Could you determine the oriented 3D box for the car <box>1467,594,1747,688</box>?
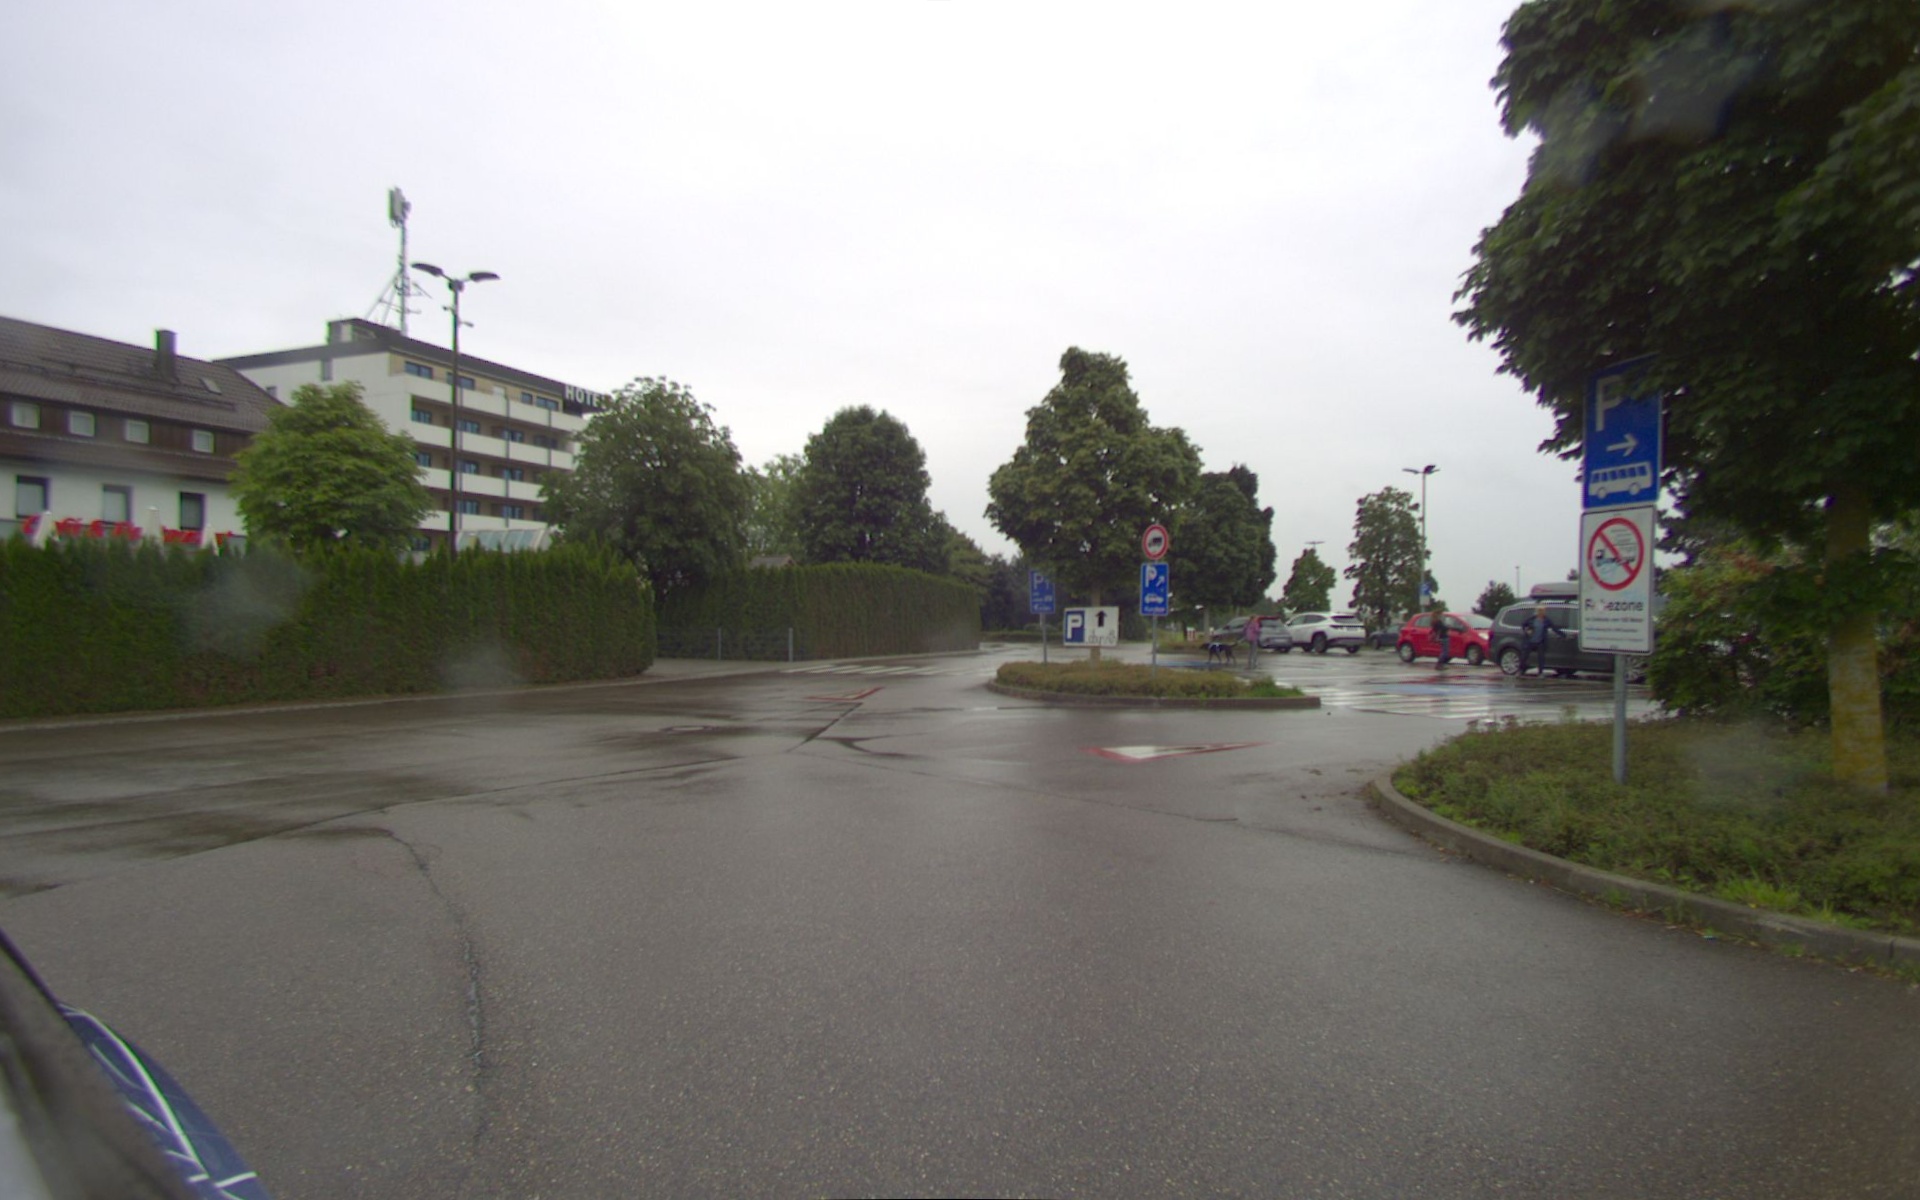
[{"bbox_3d":[13.964,0.858,22.269,1.965,1.806,4.967,0,-1,-20],"label":"car"}]

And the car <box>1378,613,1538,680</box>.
[{"bbox_3d":[14.490,1.320,29.701,1.819,1.806,4.036,0,-1,-20],"label":"car"}]

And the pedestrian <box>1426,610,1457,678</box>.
[{"bbox_3d":[11.946,1.090,25.088,0.644,1.651,0.709,0,-3,29],"label":"pedestrian"}]

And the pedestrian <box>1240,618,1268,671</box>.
[{"bbox_3d":[7.730,1.170,26.597,0.640,1.372,0.449,1,-2,20],"label":"pedestrian"}]

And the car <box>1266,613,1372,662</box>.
[{"bbox_3d":[14.724,1.525,41.736,1.691,1.876,4.382,2,-2,-20],"label":"car"}]

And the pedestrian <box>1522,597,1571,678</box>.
[{"bbox_3d":[12.752,0.810,22.019,0.601,1.737,0.686,3,-2,-27],"label":"pedestrian"}]

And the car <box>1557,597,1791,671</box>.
[{"bbox_3d":[16.446,0.762,23.590,1.713,1.528,4.211,-1,-1,-19],"label":"car"}]

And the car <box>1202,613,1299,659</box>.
[{"bbox_3d":[11.768,1.465,41.243,1.691,1.728,4.039,2,-2,-20],"label":"car"}]
